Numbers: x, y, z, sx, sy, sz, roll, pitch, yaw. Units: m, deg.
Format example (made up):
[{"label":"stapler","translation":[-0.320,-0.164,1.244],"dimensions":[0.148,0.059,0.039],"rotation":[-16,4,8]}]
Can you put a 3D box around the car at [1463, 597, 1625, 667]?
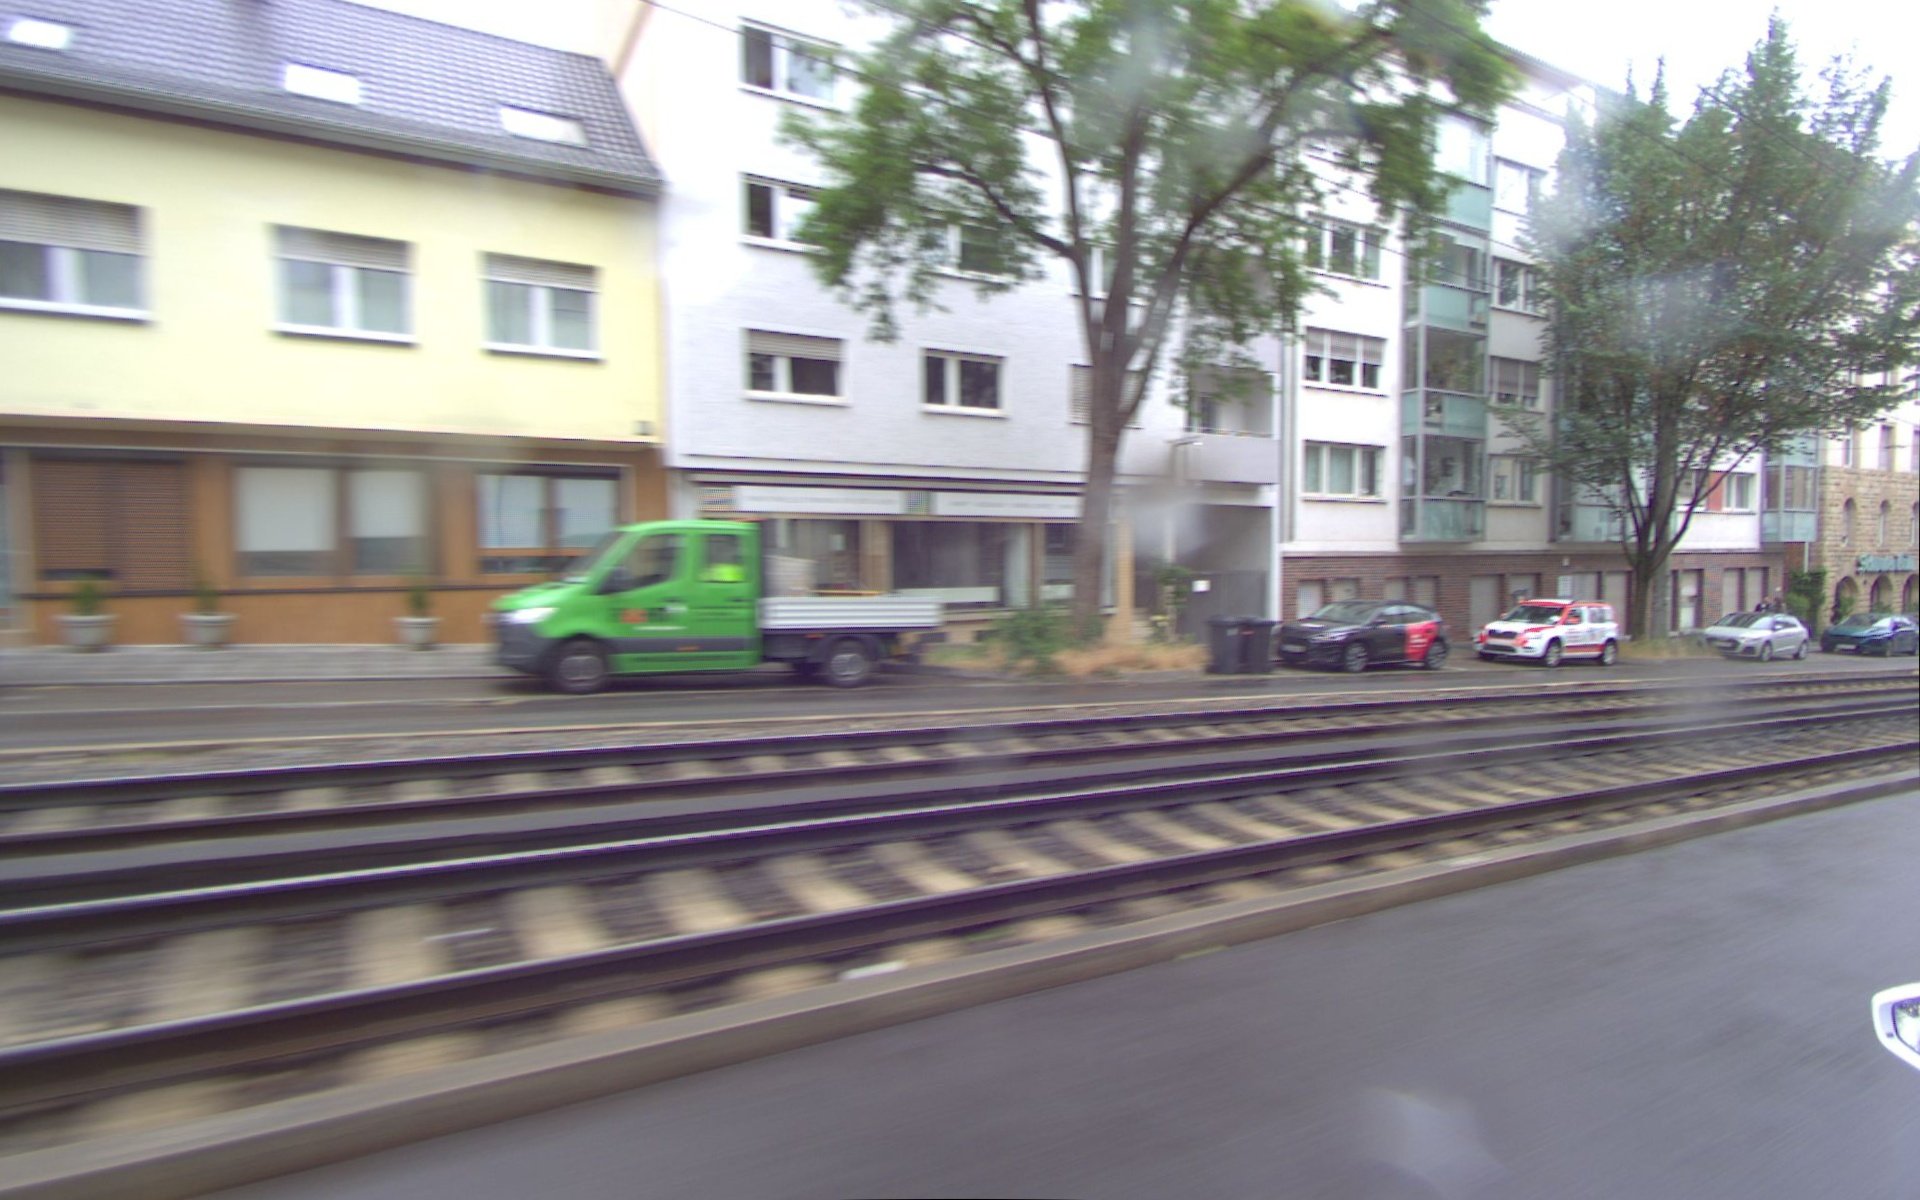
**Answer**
[{"label":"car","translation":[14.639,0.767,25.130],"dimensions":[4.111,1.590,1.767],"rotation":[1,1,-31]}]

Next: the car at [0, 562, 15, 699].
[{"label":"car","translation":[-12.057,0.328,9.442],"dimensions":[4.309,1.480,1.696],"rotation":[1,2,-30]}]

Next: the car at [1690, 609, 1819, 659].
[{"label":"car","translation":[24.428,1.012,30.858],"dimensions":[4.081,1.354,1.694],"rotation":[1,3,-30]}]

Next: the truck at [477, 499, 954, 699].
[{"label":"truck","translation":[-3.374,0.082,14.402],"dimensions":[6.274,2.377,2.183],"rotation":[2,0,-29]}]

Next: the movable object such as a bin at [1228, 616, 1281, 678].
[{"label":"movable object such as a bin","translation":[5.669,0.890,19.340],"dimensions":[0.665,1.136,0.720],"rotation":[0,0,-35]}]

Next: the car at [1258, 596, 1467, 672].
[{"label":"car","translation":[8.675,0.675,21.550],"dimensions":[4.418,1.459,1.896],"rotation":[1,1,-31]}]

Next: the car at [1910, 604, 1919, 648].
[{"label":"car","translation":[40.355,1.079,40.471],"dimensions":[3.693,1.751,1.878],"rotation":[0,3,-28]}]

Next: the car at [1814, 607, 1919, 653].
[{"label":"car","translation":[31.987,1.025,35.264],"dimensions":[4.380,1.474,1.791],"rotation":[1,0,-31]}]

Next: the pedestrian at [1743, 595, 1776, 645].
[{"label":"pedestrian","translation":[29.445,0.730,37.012],"dimensions":[0.773,1.796,0.670],"rotation":[1,1,-30]}]

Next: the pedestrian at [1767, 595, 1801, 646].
[{"label":"pedestrian","translation":[29.823,0.737,36.347],"dimensions":[0.773,1.796,0.670],"rotation":[1,1,-30]}]

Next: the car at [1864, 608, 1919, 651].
[{"label":"car","translation":[35.861,1.086,37.776],"dimensions":[3.486,1.518,1.797],"rotation":[0,2,-31]}]

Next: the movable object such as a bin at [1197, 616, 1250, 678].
[{"label":"movable object such as a bin","translation":[5.002,0.876,19.077],"dimensions":[0.665,1.136,0.720],"rotation":[0,0,-35]}]
